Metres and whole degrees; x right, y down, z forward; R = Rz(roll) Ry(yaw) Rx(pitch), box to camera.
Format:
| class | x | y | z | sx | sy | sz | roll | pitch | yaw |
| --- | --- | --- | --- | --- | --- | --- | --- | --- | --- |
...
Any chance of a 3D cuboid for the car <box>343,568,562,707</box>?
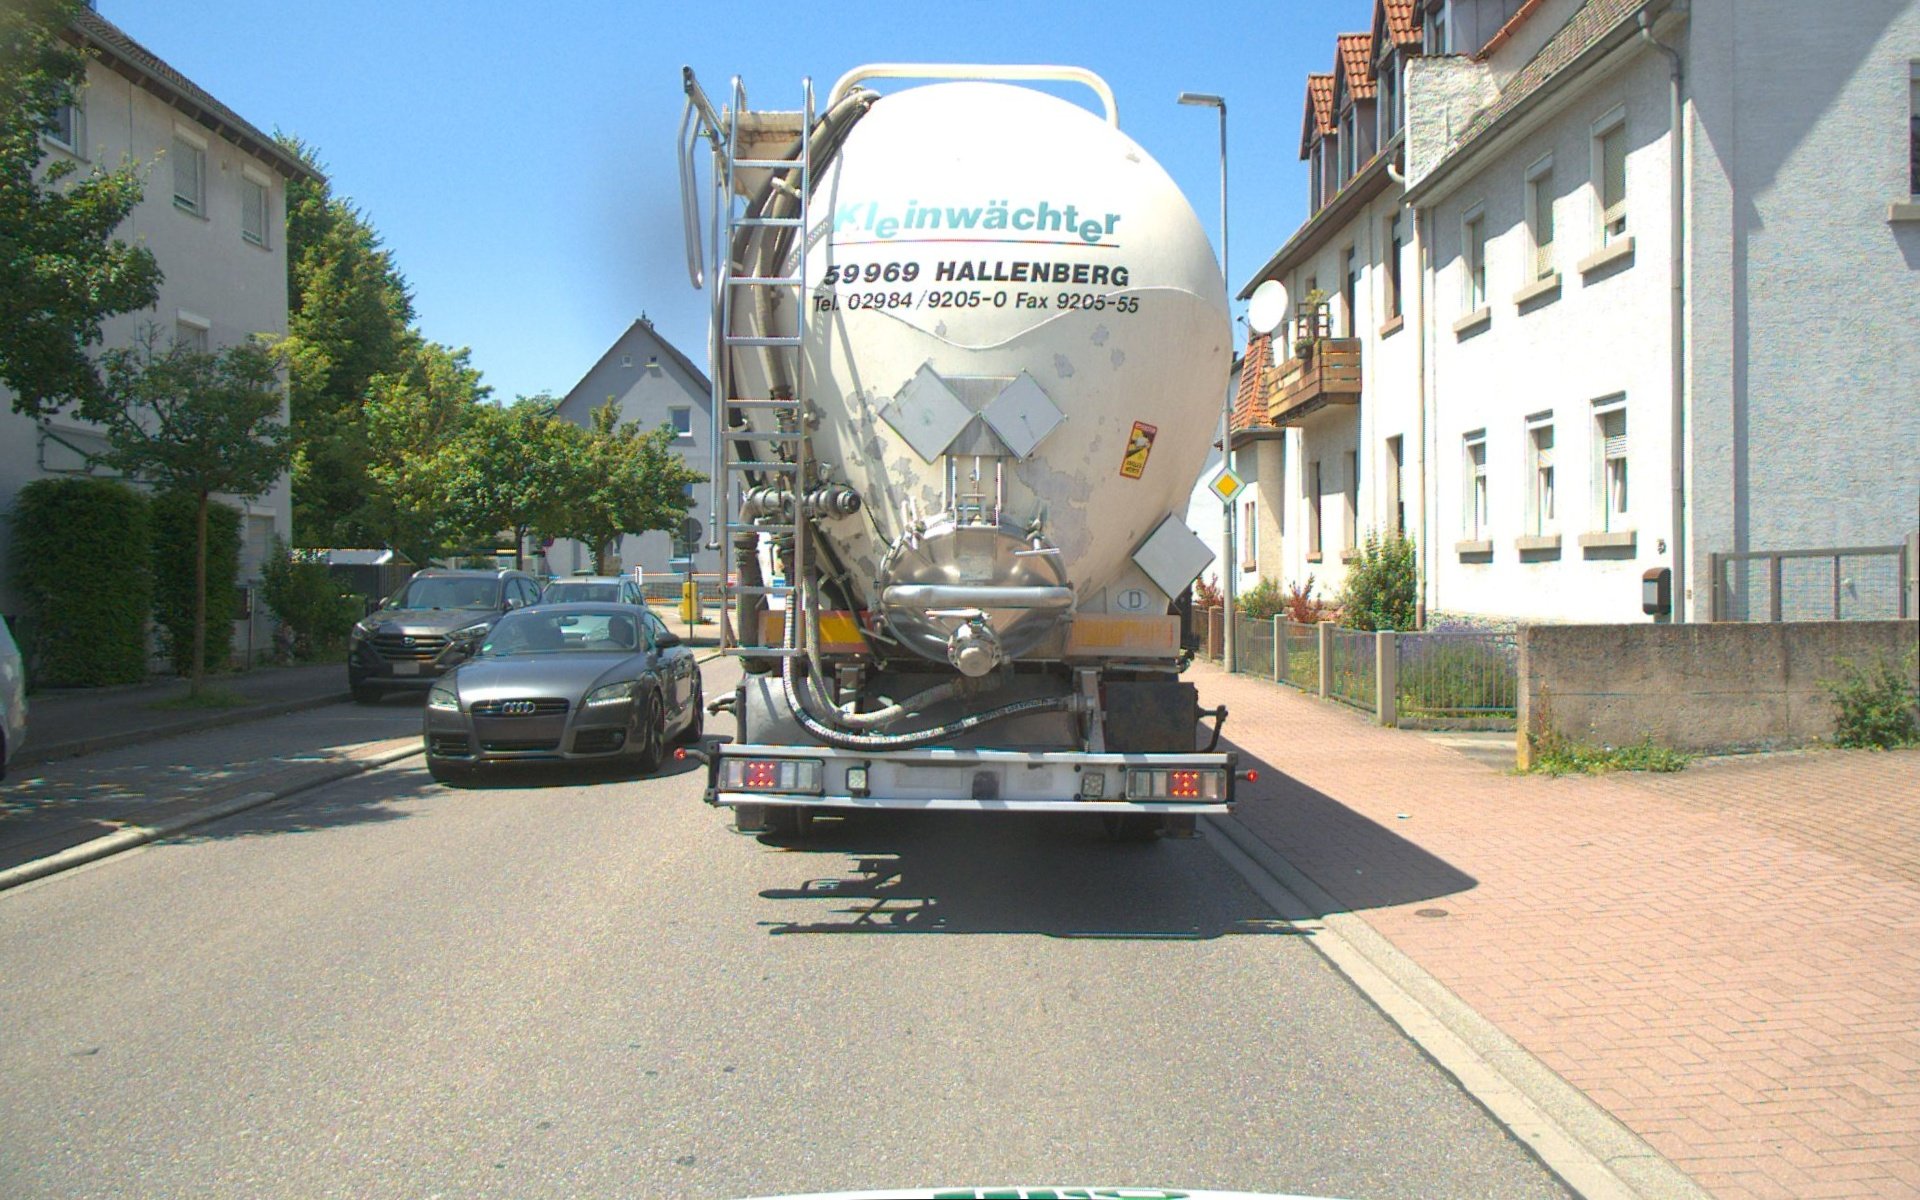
| class | x | y | z | sx | sy | sz | roll | pitch | yaw |
| --- | --- | --- | --- | --- | --- | --- | --- | --- | --- |
| car | -6.526 | 0.425 | 21.705 | 1.657 | 1.648 | 3.997 | 0 | 1 | 0 |

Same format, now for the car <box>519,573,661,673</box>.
| class | x | y | z | sx | sy | sz | roll | pitch | yaw |
| --- | --- | --- | --- | --- | --- | --- | --- | --- | --- |
| car | -6.316 | 0.351 | 28.622 | 1.663 | 1.608 | 3.837 | 1 | 1 | -1 |

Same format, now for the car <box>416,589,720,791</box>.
| class | x | y | z | sx | sy | sz | roll | pitch | yaw |
| --- | --- | --- | --- | --- | --- | --- | --- | --- | --- |
| car | -3.190 | 0.655 | 14.212 | 1.671 | 1.394 | 3.868 | -3 | 1 | -1 |

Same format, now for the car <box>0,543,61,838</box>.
| class | x | y | z | sx | sy | sz | roll | pitch | yaw |
| --- | --- | --- | --- | --- | --- | --- | --- | --- | --- |
| car | -6.376 | 0.541 | 8.020 | 1.672 | 1.716 | 4.524 | 0 | 1 | -2 |

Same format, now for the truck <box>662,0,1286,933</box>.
| class | x | y | z | sx | sy | sz | roll | pitch | yaw |
| --- | --- | --- | --- | --- | --- | --- | --- | --- | --- |
| truck | 0.019 | -0.710 | 11.685 | 2.587 | 4.086 | 9.560 | 0 | 1 | -1 |
